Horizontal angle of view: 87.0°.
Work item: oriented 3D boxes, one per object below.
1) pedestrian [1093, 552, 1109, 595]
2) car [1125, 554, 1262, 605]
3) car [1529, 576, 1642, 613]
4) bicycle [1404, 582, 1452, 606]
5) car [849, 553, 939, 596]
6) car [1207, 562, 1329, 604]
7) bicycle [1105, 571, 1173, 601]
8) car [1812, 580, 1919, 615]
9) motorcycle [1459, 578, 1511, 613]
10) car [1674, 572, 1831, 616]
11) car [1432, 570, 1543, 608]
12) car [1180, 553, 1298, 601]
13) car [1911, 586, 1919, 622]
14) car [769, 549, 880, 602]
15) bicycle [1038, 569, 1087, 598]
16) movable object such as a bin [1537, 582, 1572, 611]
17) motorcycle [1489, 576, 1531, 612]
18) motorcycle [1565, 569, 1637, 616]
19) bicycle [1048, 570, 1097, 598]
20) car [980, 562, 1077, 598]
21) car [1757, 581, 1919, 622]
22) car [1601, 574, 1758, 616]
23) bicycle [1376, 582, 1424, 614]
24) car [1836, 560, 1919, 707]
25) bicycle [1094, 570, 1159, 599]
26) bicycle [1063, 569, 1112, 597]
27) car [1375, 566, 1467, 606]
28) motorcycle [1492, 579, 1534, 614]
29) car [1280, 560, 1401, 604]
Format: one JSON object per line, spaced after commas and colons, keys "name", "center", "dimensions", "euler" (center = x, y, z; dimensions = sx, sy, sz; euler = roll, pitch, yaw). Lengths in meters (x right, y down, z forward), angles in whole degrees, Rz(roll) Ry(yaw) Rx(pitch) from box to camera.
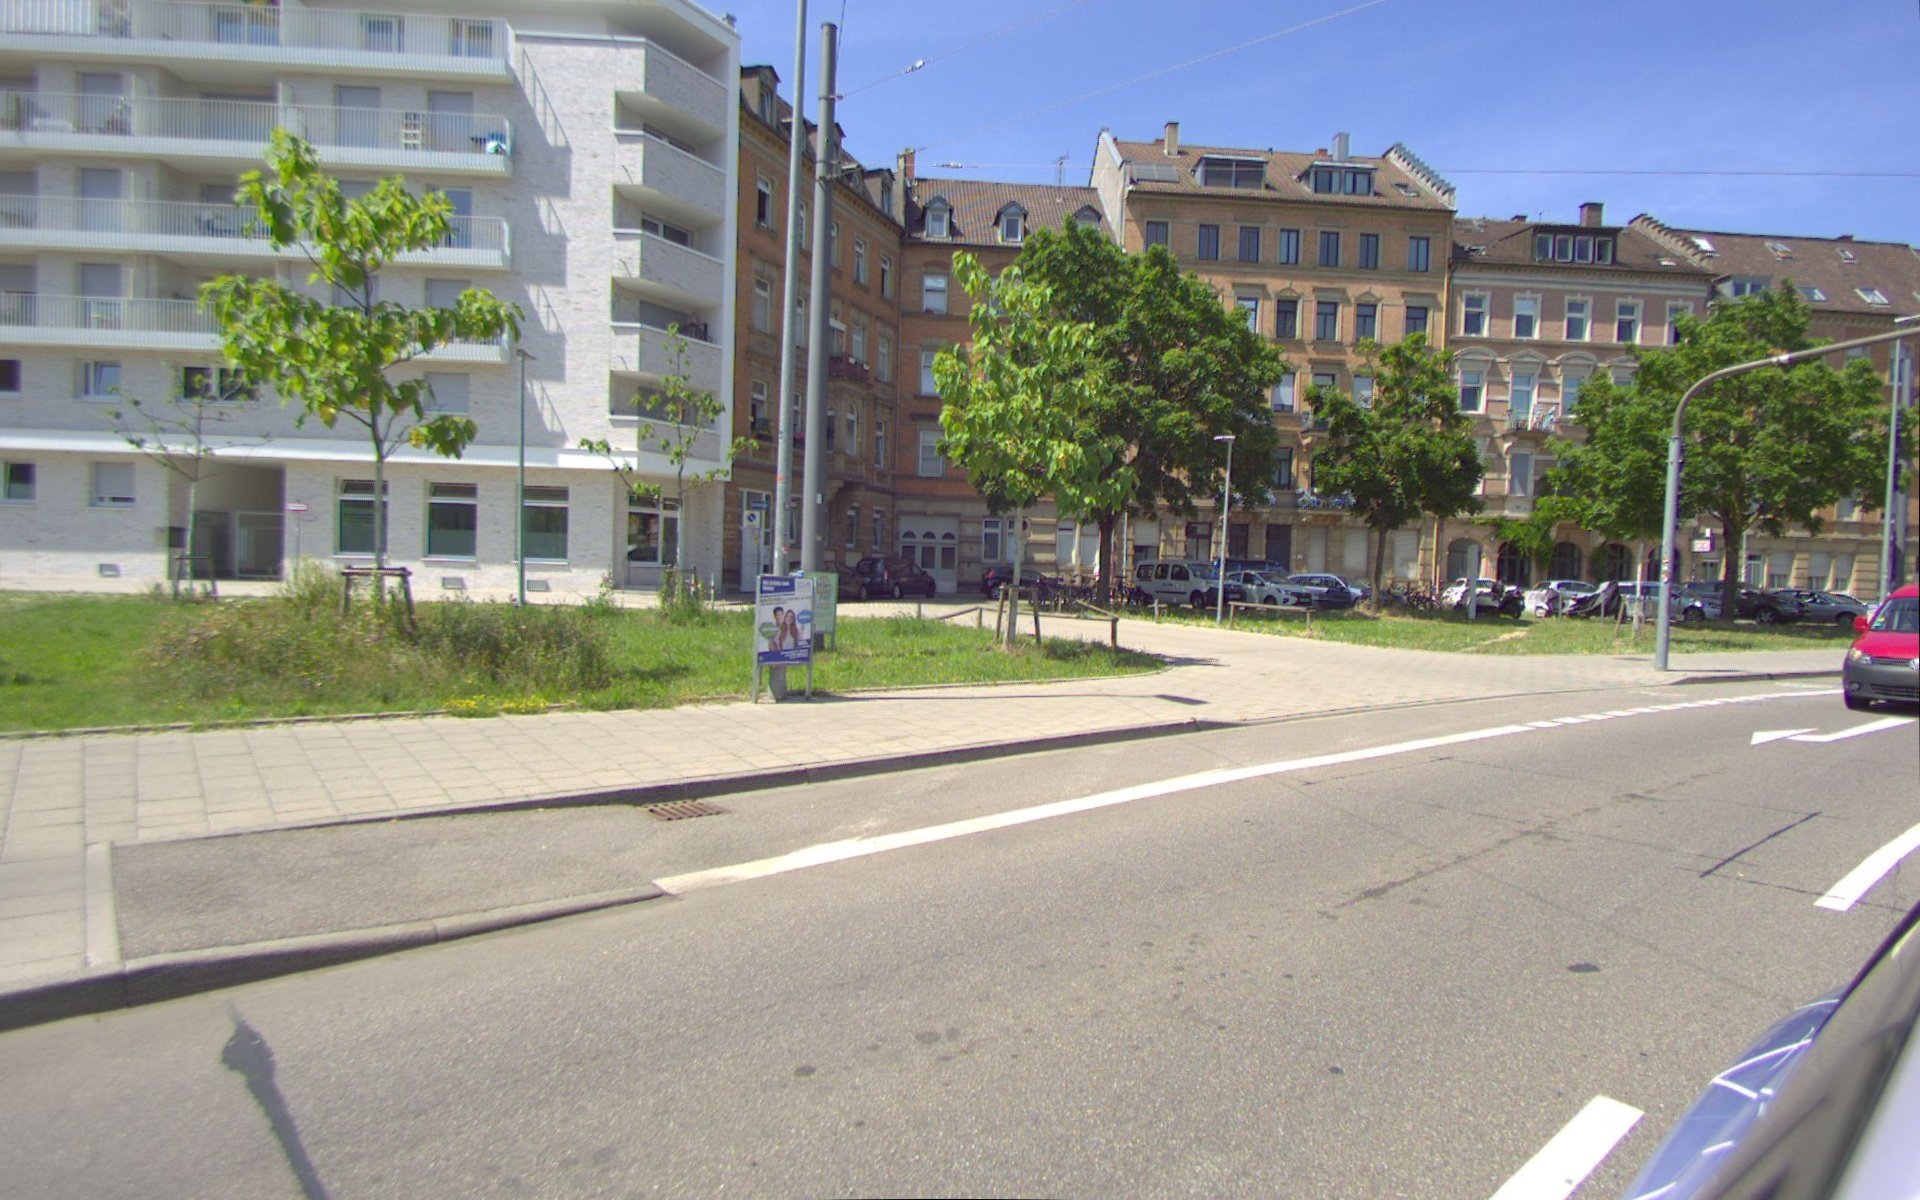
{"name": "pedestrian", "center": [6.161, -1.162, 44.245], "dimensions": [0.591, 1.842, 0.453], "euler": [1, 0, -3]}
{"name": "car", "center": [8.011, -0.707, 35.207], "dimensions": [1.799, 1.621, 4.881], "euler": [1, 1, -29]}
{"name": "car", "center": [28.017, -0.248, 45.403], "dimensions": [3.920, 1.549, 1.844], "euler": [2, 0, -5]}
{"name": "bicycle", "center": [16.198, -0.211, 35.055], "dimensions": [1.445, 0.815, 0.493], "euler": [2, 0, 32]}
{"name": "car", "center": [-2.538, -0.967, 39.758], "dimensions": [1.760, 1.549, 4.045], "euler": [2, 1, 26]}
{"name": "car", "center": [10.731, -0.617, 35.535], "dimensions": [1.723, 1.349, 4.005], "euler": [1, 1, -29]}
{"name": "bicycle", "center": [6.132, -0.489, 34.760], "dimensions": [2.420, 0.947, 0.500], "euler": [2, 1, 45]}
{"name": "car", "center": [41.065, -0.111, 45.711], "dimensions": [3.642, 1.438, 1.786], "euler": [2, 0, -3]}
{"name": "motorcycle", "center": [17.357, -0.153, 33.504], "dimensions": [0.517, 1.134, 1.831], "euler": [1, 0, -10]}
{"name": "car", "center": [28.561, -0.236, 36.596], "dimensions": [1.762, 1.488, 4.097], "euler": [1, 1, -30]}
{"name": "car", "center": [23.432, -0.482, 45.063], "dimensions": [3.923, 1.549, 1.843], "euler": [2, 0, -1]}
{"name": "car", "center": [12.219, -1.012, 44.516], "dimensions": [4.563, 1.928, 1.927], "euler": [2, 0, -2]}
{"name": "car", "center": [38.331, 0.219, 37.242], "dimensions": [2.114, 1.330, 4.777], "euler": [1, 1, -44]}
{"name": "car", "center": [-4.485, -0.781, 34.027], "dimensions": [1.679, 1.645, 4.092], "euler": [2, 1, 26]}
{"name": "bicycle", "center": [3.542, -0.584, 35.079], "dimensions": [0.498, 0.947, 2.052], "euler": [1, 1, -33]}
{"name": "movable object such as a bin", "center": [20.158, -0.124, 34.332], "dimensions": [0.690, 0.949, 0.987], "euler": [2, 0, 8]}
{"name": "motorcycle", "center": [20.258, -0.222, 37.315], "dimensions": [0.800, 1.251, 2.077], "euler": [2, 1, 12]}
{"name": "motorcycle", "center": [20.734, -0.240, 32.757], "dimensions": [1.821, 1.430, 0.678], "euler": [2, 2, -1]}
{"name": "bicycle", "center": [3.932, -0.582, 35.383], "dimensions": [0.498, 0.947, 2.052], "euler": [1, 1, -33]}
{"name": "car", "center": [2.928, -0.863, 43.703], "dimensions": [3.921, 1.438, 1.779], "euler": [2, 0, -4]}
{"name": "car", "center": [31.638, 0.032, 36.556], "dimensions": [1.931, 1.330, 4.008], "euler": [1, 1, -24]}
{"name": "car", "center": [25.721, -0.211, 36.343], "dimensions": [1.550, 1.393, 4.354], "euler": [1, 1, -28]}
{"name": "bicycle", "center": [14.088, -0.072, 32.406], "dimensions": [1.353, 0.959, 0.474], "euler": [2, 0, 18]}
{"name": "car", "center": [14.293, 0.468, 14.175], "dimensions": [5.067, 1.857, 1.861], "euler": [1, 0, -35]}
{"name": "bicycle", "center": [5.885, -0.551, 35.935], "dimensions": [2.420, 0.947, 0.500], "euler": [3, 2, 45]}
{"name": "bicycle", "center": [4.474, -0.601, 35.715], "dimensions": [0.498, 0.947, 2.052], "euler": [1, 1, -33]}
{"name": "car", "center": [17.520, -0.528, 38.641], "dimensions": [1.922, 1.393, 3.995], "euler": [2, 1, 5]}
{"name": "motorcycle", "center": [18.269, -0.125, 33.453], "dimensions": [0.468, 1.134, 1.526], "euler": [1, 0, -3]}
{"name": "car", "center": [13.395, -0.643, 35.828], "dimensions": [1.575, 1.450, 3.872], "euler": [1, 1, -31]}
